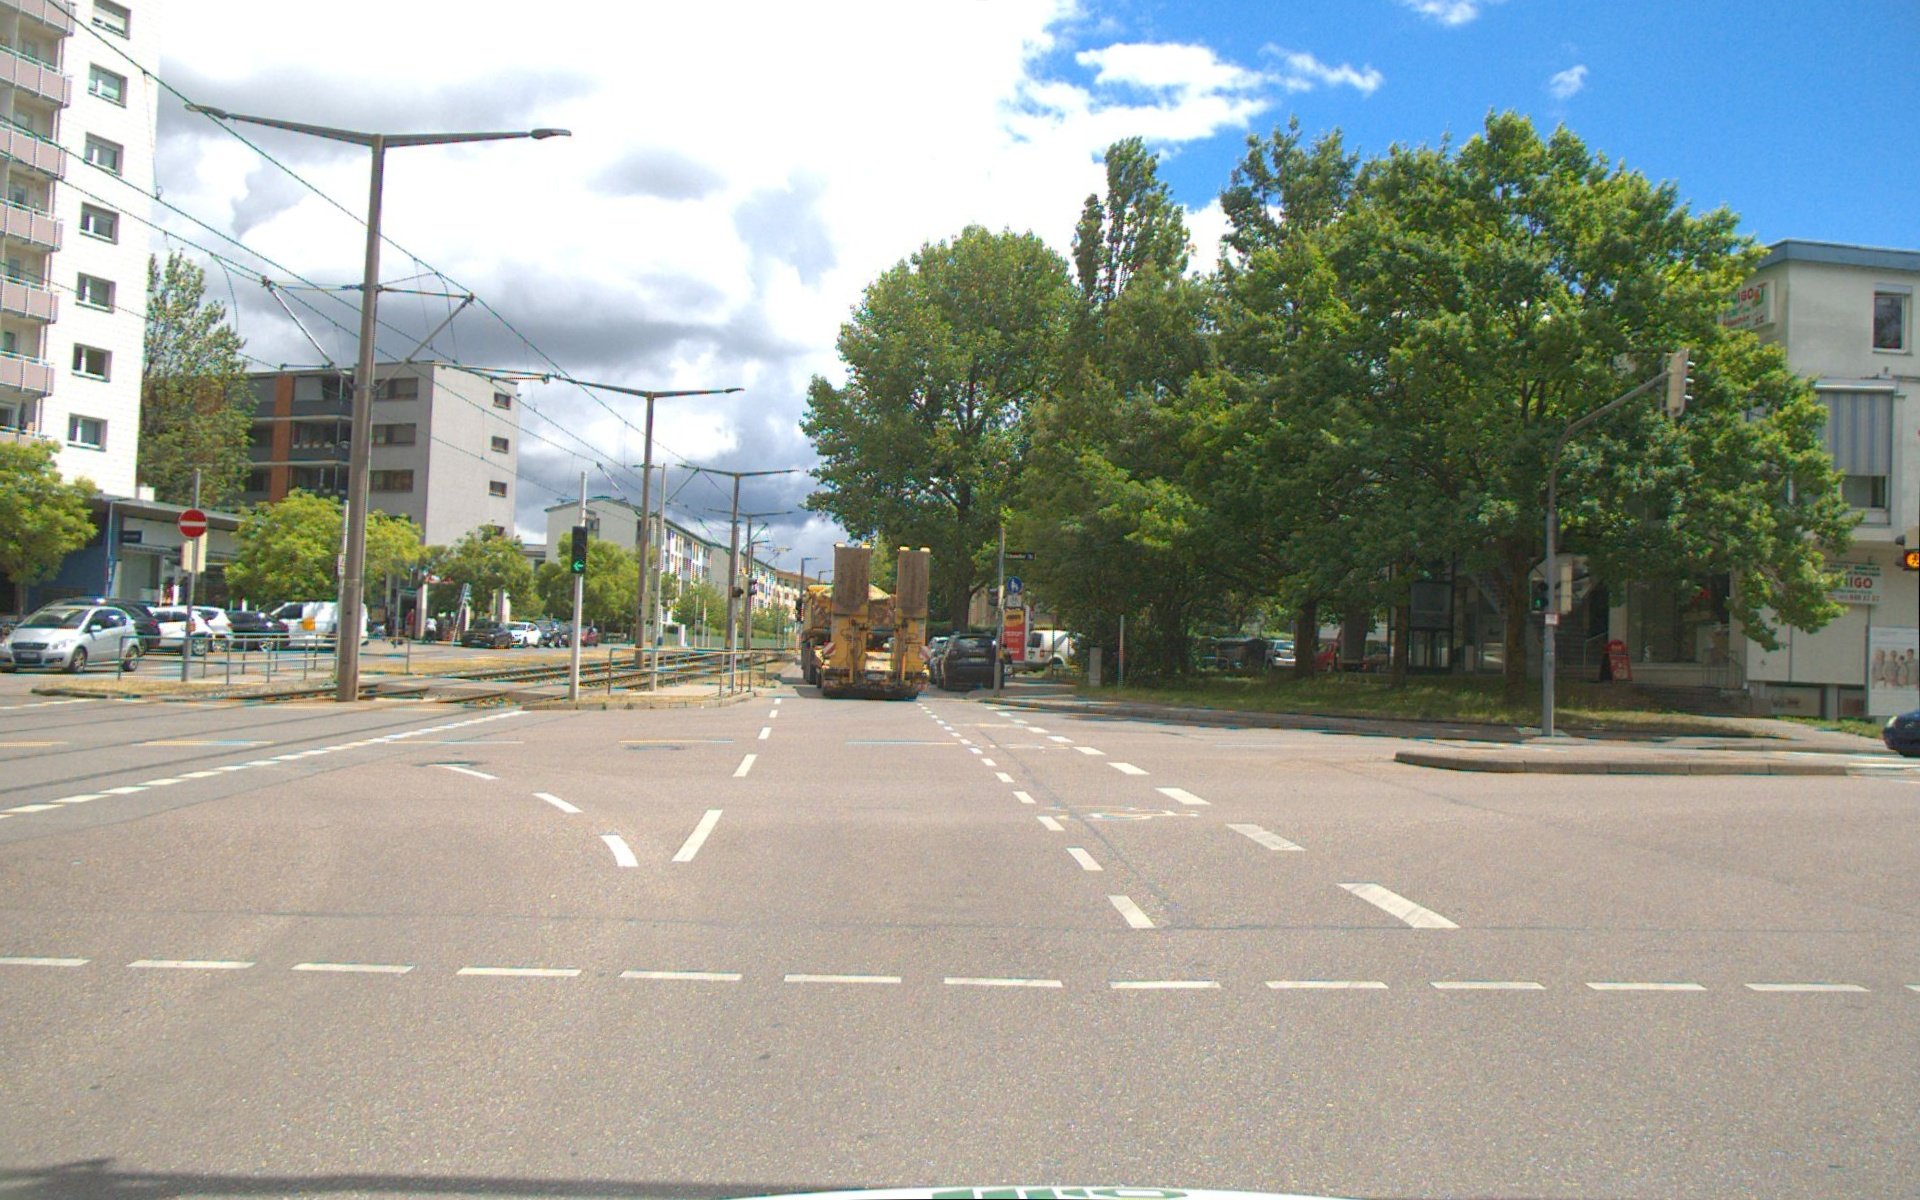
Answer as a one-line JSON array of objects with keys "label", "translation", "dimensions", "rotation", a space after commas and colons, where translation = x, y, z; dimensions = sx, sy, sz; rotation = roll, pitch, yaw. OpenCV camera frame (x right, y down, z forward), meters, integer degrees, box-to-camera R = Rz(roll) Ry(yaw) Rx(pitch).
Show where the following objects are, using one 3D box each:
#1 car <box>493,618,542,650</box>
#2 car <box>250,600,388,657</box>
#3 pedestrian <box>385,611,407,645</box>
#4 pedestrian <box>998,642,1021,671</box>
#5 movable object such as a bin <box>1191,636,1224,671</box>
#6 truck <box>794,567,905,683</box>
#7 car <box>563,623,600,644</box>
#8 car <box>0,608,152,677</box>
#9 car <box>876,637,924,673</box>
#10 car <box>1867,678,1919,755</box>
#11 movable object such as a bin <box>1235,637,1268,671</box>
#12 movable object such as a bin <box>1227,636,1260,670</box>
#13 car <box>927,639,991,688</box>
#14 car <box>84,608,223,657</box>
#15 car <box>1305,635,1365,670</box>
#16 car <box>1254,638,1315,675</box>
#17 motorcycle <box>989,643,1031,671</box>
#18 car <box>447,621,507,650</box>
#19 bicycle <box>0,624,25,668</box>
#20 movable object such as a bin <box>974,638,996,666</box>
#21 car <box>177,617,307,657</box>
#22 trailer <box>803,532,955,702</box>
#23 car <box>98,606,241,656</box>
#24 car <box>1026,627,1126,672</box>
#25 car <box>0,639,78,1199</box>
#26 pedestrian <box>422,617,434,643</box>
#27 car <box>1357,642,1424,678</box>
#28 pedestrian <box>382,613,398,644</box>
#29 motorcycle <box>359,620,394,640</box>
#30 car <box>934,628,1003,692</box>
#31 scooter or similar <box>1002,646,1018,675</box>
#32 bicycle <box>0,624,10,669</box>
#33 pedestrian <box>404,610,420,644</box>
[{"label": "car", "translation": [-25.559, 1.940, 95.630], "dimensions": [1.955, 1.692, 4.095], "rotation": [3, -1, -5]}, {"label": "car", "translation": [-25.316, 1.131, 65.434], "dimensions": [4.726, 2.194, 1.875], "rotation": [2, -1, -45]}, {"label": "pedestrian", "translation": [-28.207, 1.416, 82.741], "dimensions": [0.824, 1.679, 0.613], "rotation": [2, -1, -3]}, {"label": "pedestrian", "translation": [1.894, 2.154, 62.925], "dimensions": [0.761, 1.073, 0.546], "rotation": [1, -1, -10]}, {"label": "movable object such as a bin", "translation": [10.629, 2.277, 71.044], "dimensions": [1.093, 1.455, 1.284], "rotation": [1, -1, -6]}, {"label": "truck", "translation": [-3.649, 0.797, 52.832], "dimensions": [2.781, 3.389, 7.967], "rotation": [1, -1, -9]}, {"label": "car", "translation": [-26.064, 2.296, 114.049], "dimensions": [1.579, 1.451, 3.424], "rotation": [1, -1, 3]}, {"label": "car", "translation": [-21.155, 0.991, 39.476], "dimensions": [1.781, 1.559, 3.754], "rotation": [1, -1, 1]}, {"label": "car", "translation": [-2.663, 2.398, 72.301], "dimensions": [1.780, 1.474, 3.820], "rotation": [1, -1, -7]}, {"label": "car", "translation": [17.339, 1.926, 27.199], "dimensions": [3.886, 1.247, 1.909], "rotation": [1, -4, -9]}, {"label": "movable object such as a bin", "translation": [12.683, 2.332, 71.952], "dimensions": [1.093, 1.455, 1.284], "rotation": [1, -1, -6]}, {"label": "movable object such as a bin", "translation": [12.554, 2.341, 73.269], "dimensions": [1.093, 1.455, 1.284], "rotation": [1, -1, -6]}, {"label": "car", "translation": [-0.058, 2.068, 54.472], "dimensions": [1.612, 1.483, 4.069], "rotation": [1, -1, -7]}, {"label": "car", "translation": [-26.322, 1.068, 54.028], "dimensions": [3.735, 1.523, 1.720], "rotation": [2, -1, -43]}, {"label": "car", "translation": [16.983, 2.359, 75.105], "dimensions": [1.708, 1.468, 3.999], "rotation": [1, -1, -1]}, {"label": "car", "translation": [14.562, 2.518, 74.436], "dimensions": [1.901, 1.517, 3.999], "rotation": [1, -1, -1]}, {"label": "motorcycle", "translation": [2.266, 2.573, 74.532], "dimensions": [1.773, 1.232, 0.706], "rotation": [1, -1, -26]}, {"label": "car", "translation": [-25.669, 1.878, 88.090], "dimensions": [1.717, 1.501, 4.401], "rotation": [1, -1, 2]}, {"label": "bicycle", "translation": [-24.875, 1.136, 41.505], "dimensions": [2.378, 1.085, 0.704], "rotation": [1, -1, -2]}, {"label": "movable object such as a bin", "translation": [1.327, 2.774, 88.623], "dimensions": [1.077, 1.464, 0.760], "rotation": [1, -1, -6]}, {"label": "car", "translation": [-26.391, 1.368, 60.852], "dimensions": [3.970, 1.408, 1.875], "rotation": [2, -1, -45]}, {"label": "trailer", "translation": [-2.392, 0.469, 43.483], "dimensions": [2.993, 3.839, 11.591], "rotation": [1, -1, -8]}, {"label": "car", "translation": [-27.041, 1.069, 56.660], "dimensions": [1.872, 1.660, 3.977], "rotation": [0, -1, 41]}, {"label": "car", "translation": [4.964, 2.099, 70.779], "dimensions": [3.939, 1.855, 1.795], "rotation": [1, -1, -27]}, {"label": "car", "translation": [-2.628, 0.736, 0.726], "dimensions": [1.931, 1.423, 4.674], "rotation": [1, -1, 0]}, {"label": "pedestrian", "translation": [-30.929, 1.763, 96.131], "dimensions": [0.492, 1.486, 0.555], "rotation": [2, -1, -31]}, {"label": "car", "translation": [19.346, 2.664, 74.475], "dimensions": [1.709, 1.496, 3.997], "rotation": [1, -1, -4]}, {"label": "pedestrian", "translation": [-29.820, 1.482, 86.569], "dimensions": [0.656, 1.601, 0.681], "rotation": [2, -1, -31]}, {"label": "motorcycle", "translation": [-34.844, 1.782, 98.757], "dimensions": [1.855, 1.199, 0.740], "rotation": [1, -1, -6]}, {"label": "car", "translation": [0.220, 1.778, 49.940], "dimensions": [1.612, 1.793, 4.564], "rotation": [1, -1, -6]}, {"label": "scooter or similar", "translation": [1.900, 2.309, 62.934], "dimensions": [0.468, 1.073, 0.895], "rotation": [1, -1, -9]}, {"label": "bicycle", "translation": [-24.821, 1.125, 40.740], "dimensions": [2.378, 1.085, 0.704], "rotation": [1, -1, -2]}, {"label": "pedestrian", "translation": [-29.649, 1.485, 89.551], "dimensions": [0.599, 1.824, 0.843], "rotation": [1, -1, -4]}]
